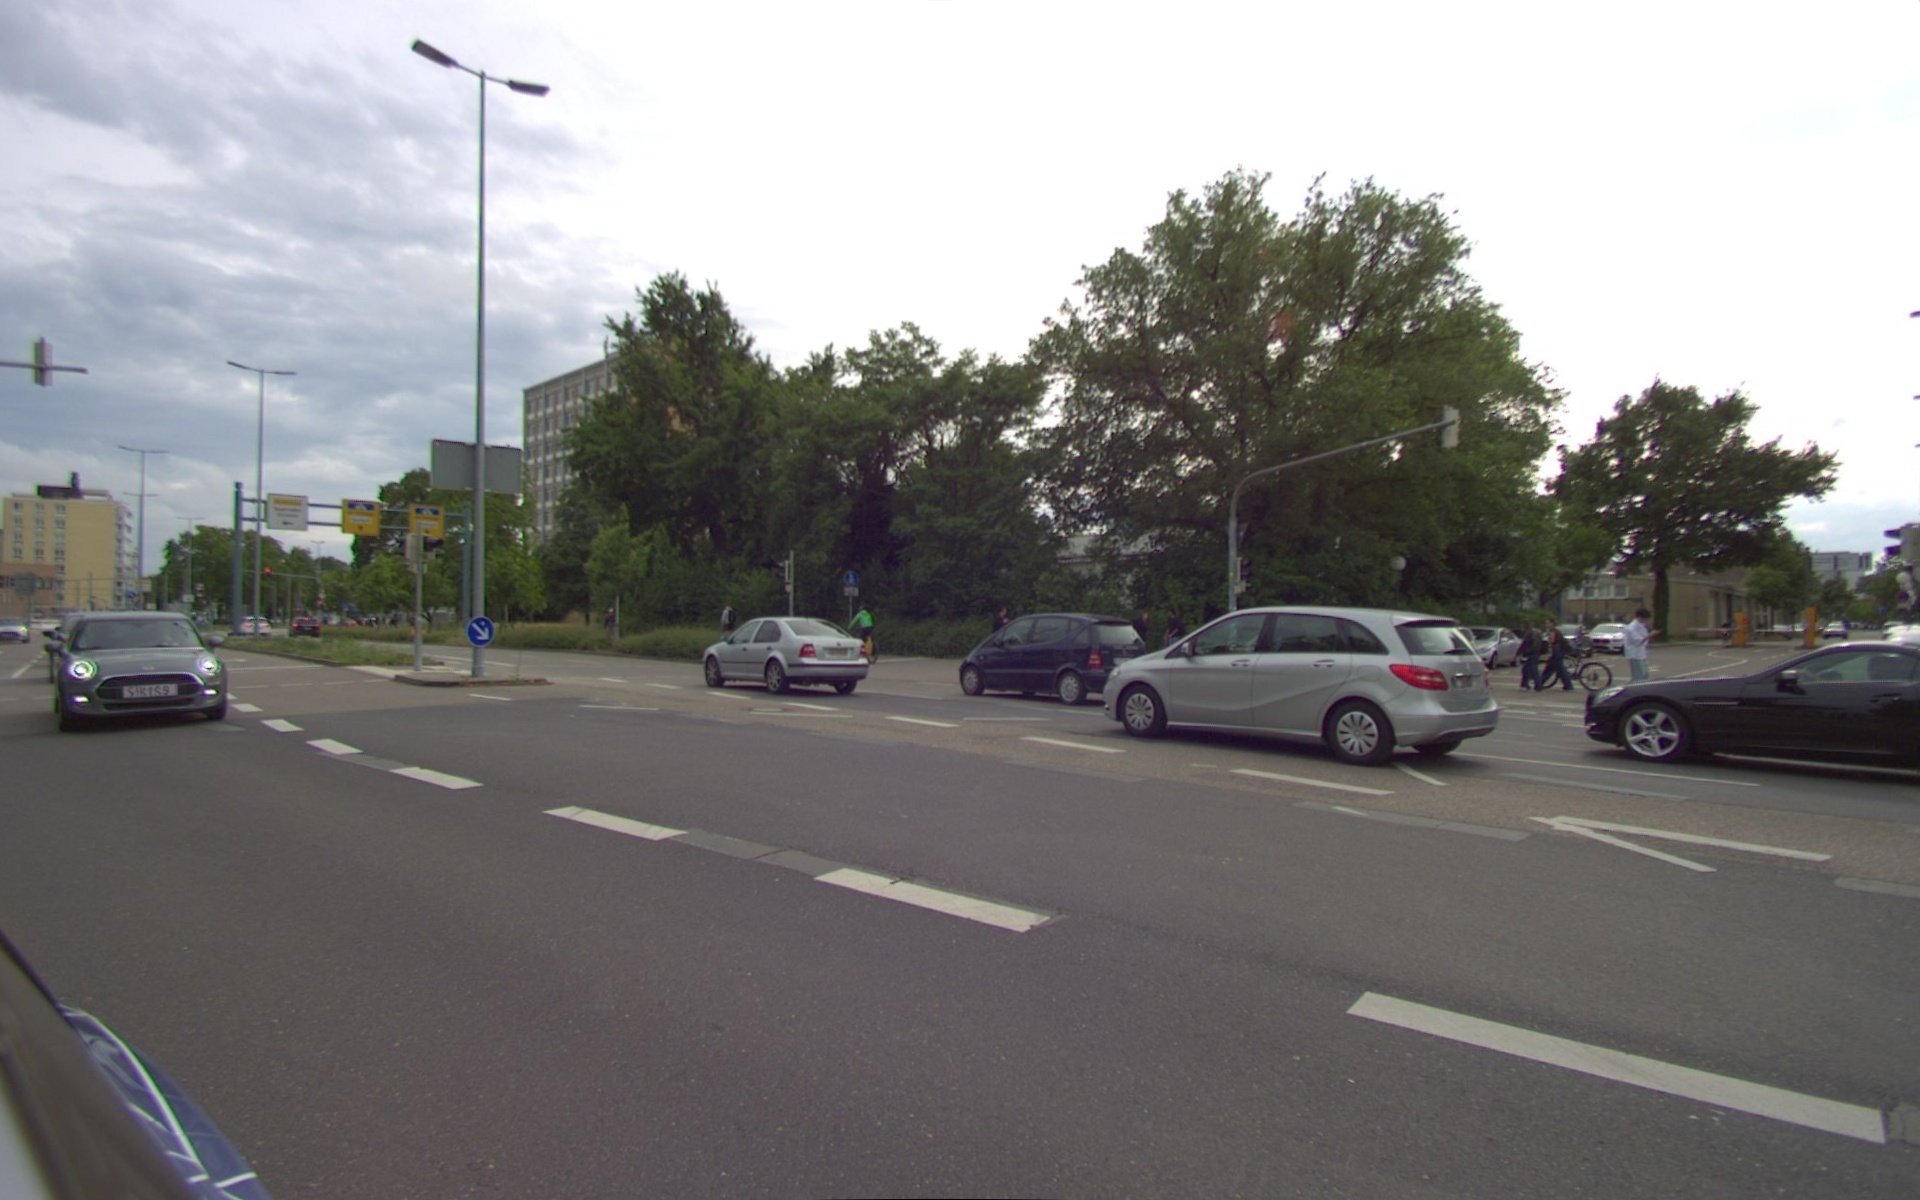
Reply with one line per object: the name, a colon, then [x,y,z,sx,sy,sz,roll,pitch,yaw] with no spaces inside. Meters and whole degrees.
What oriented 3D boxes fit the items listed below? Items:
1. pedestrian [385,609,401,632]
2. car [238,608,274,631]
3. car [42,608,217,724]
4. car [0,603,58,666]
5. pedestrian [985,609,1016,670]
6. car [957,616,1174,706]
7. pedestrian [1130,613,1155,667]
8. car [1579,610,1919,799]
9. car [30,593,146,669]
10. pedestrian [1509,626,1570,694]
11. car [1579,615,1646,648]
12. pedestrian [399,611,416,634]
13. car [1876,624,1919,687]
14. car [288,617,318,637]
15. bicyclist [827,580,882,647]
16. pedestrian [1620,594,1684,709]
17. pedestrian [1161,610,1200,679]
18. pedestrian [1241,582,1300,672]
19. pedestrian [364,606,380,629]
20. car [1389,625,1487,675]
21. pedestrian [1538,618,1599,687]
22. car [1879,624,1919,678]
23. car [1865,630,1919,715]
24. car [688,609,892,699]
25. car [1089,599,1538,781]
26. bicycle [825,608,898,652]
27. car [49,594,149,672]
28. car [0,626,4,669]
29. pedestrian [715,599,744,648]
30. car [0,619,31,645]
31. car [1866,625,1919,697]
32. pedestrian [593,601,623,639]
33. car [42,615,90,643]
pedestrian: [-50.606,1.846,90.300,1.220,2.029,0.870,-1,0,40]
car: [-56.042,1.535,80.519,1.866,1.786,4.004,-1,0,-43]
car: [-11.191,0.804,13.592,1.601,1.328,3.710,2,-2,-42]
car: [-31.873,1.137,34.232,1.969,2.029,4.005,2,-2,-42]
pedestrian: [1.160,1.115,28.879,0.582,1.708,0.653,-1,0,-43]
car: [1.845,1.043,18.509,1.830,1.475,3.702,1,-2,-42]
pedestrian: [5.499,1.198,30.496,0.601,1.618,0.497,-1,-2,35]
car: [8.672,0.939,9.937,1.968,1.632,4.007,2,-2,-39]
car: [-18.661,0.648,21.660,1.706,1.470,4.005,2,-2,-42]
pedestrian: [12.774,1.314,22.331,0.992,1.439,0.696,-1,0,17]
car: [32.456,1.564,50.311,3.940,1.552,2.002,2,-2,-44]
pedestrian: [-47.142,1.886,86.326,1.120,1.933,1.164,-1,0,-39]
car: [27.829,1.563,29.204,2.000,1.591,3.943,-1,0,43]
car: [-53.321,2.207,82.109,1.825,1.564,4.010,0,-1,-35]
bicyclist: [-3.312,0.423,31.739,1.274,2.029,1.174,-1,0,25]
pedestrian: [12.876,0.956,18.833,0.852,2.074,0.660,-3,-4,39]
pedestrian: [6.614,1.317,30.314,1.089,2.029,1.037,-1,0,14]
pedestrian: [7.241,0.620,23.552,1.135,2.029,1.174,-1,0,25]
pedestrian: [-52.641,1.595,90.586,1.220,2.029,0.870,-1,0,40]
car: [15.618,1.575,33.001,1.863,1.461,3.544,-1,-1,44]
pedestrian: [13.691,1.165,22.782,0.812,1.525,0.977,2,-2,-40]
car: [31.270,1.643,33.024,1.854,1.696,3.943,-1,-2,43]
car: [19.873,1.428,20.631,1.999,1.483,4.099,-1,0,41]
car: [-3.400,0.975,19.661,1.969,1.541,4.280,2,-2,-41]
car: [3.678,0.880,11.121,1.934,1.596,4.260,4,-4,-43]
bicycle: [-3.104,0.943,31.859,2.298,1.343,0.602,-1,0,26]
car: [-24.145,0.908,28.356,1.969,2.029,4.005,2,-2,-42]
car: [-26.808,1.315,26.953,1.677,1.197,2.835,-1,0,-38]
pedestrian: [-9.838,1.007,43.144,0.895,2.028,0.824,-2,1,-38]
car: [-52.046,1.729,55.472,1.583,1.378,3.582,2,-2,-43]
car: [23.055,1.408,24.164,1.999,1.483,3.946,-1,0,41]
pedestrian: [-15.714,0.882,45.198,0.976,1.637,0.814,-1,0,-44]
car: [-52.632,1.686,59.570,1.970,1.557,4.004,-1,0,-43]
